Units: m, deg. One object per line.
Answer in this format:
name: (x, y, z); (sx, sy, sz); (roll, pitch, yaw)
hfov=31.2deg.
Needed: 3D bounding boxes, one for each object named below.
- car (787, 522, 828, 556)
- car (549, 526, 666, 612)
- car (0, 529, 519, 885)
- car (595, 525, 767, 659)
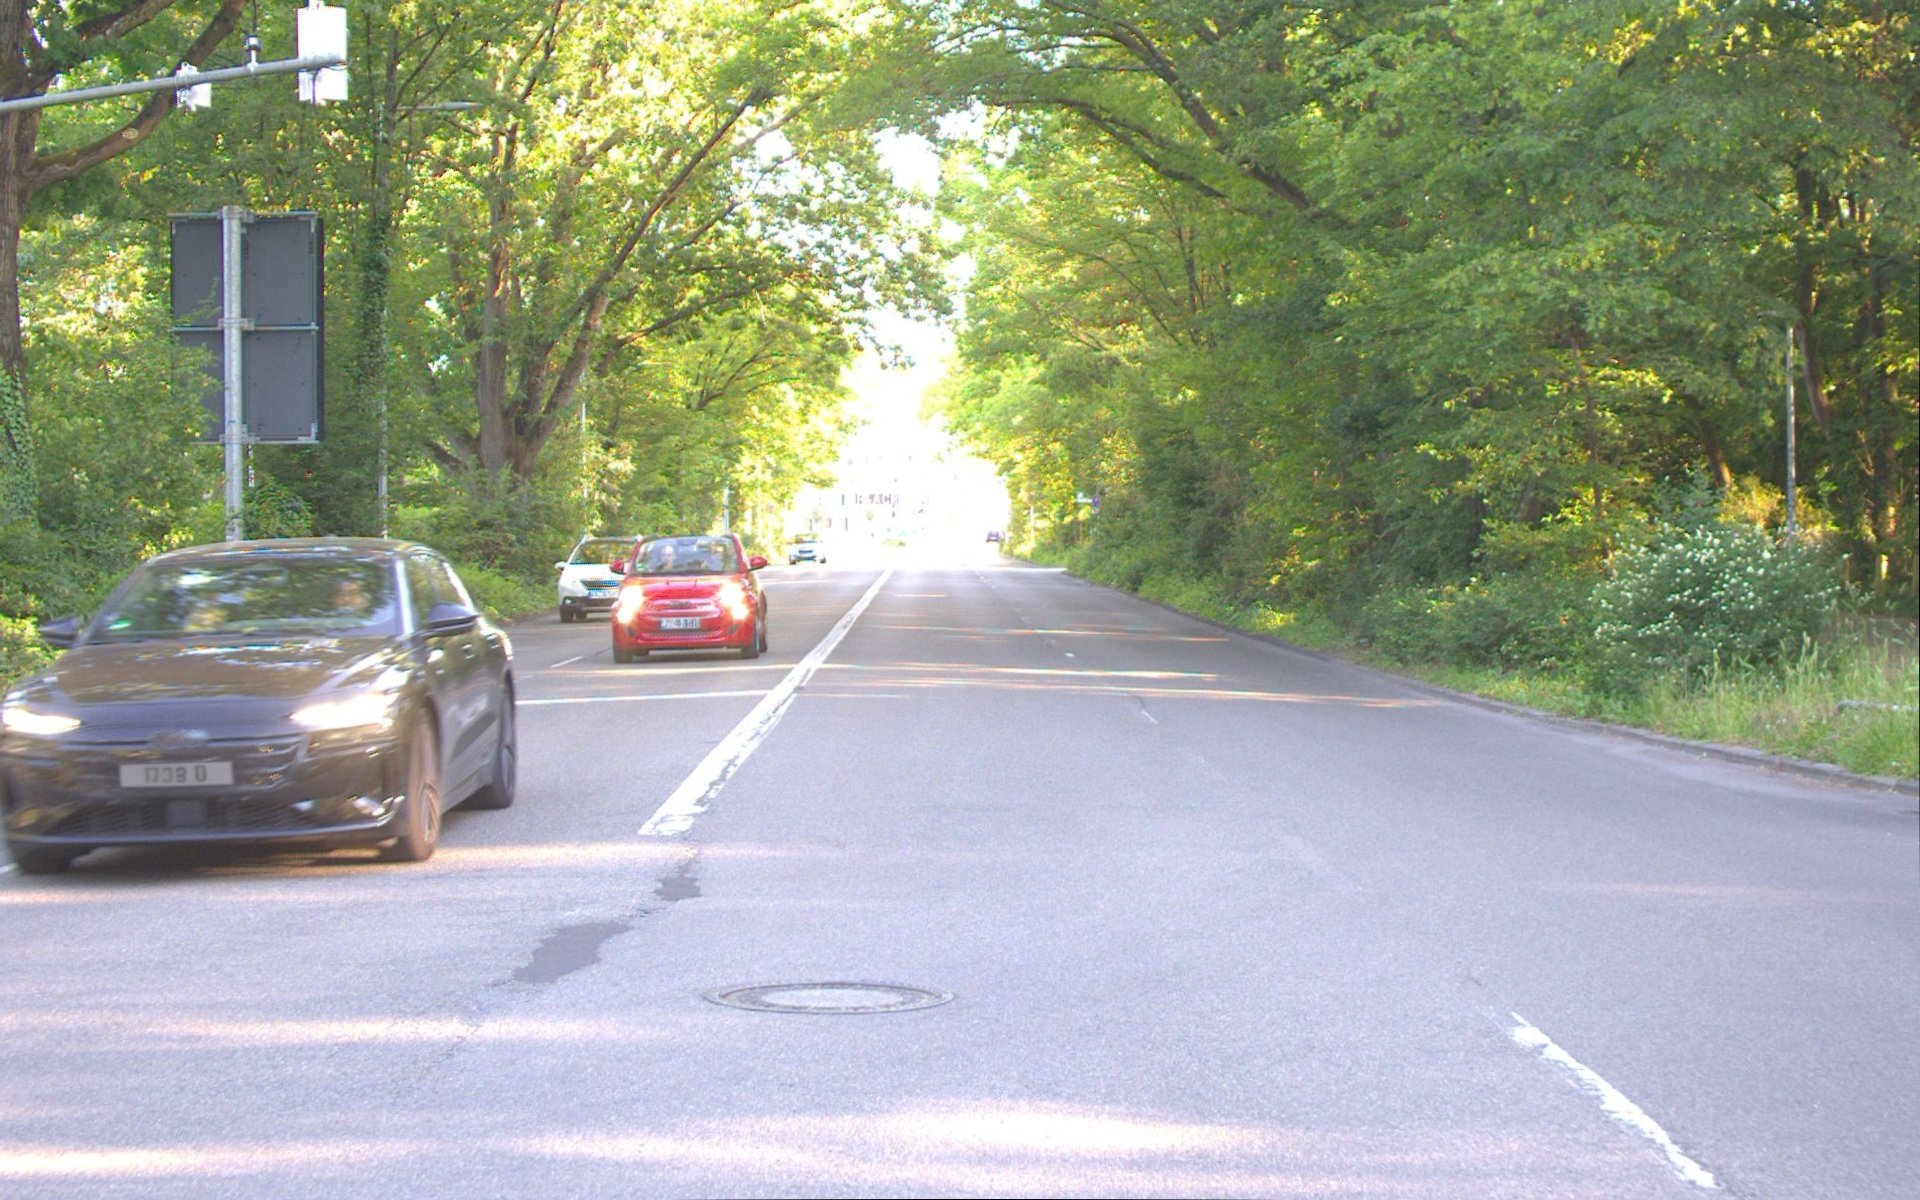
car: (-7.067, -2.817, 159.206); (1.797, 1.501, 4.365); (-1, 1, -1)
car: (-6.421, -0.592, 63.007); (1.797, 1.501, 4.365); (-1, 1, -1)
car: (-3.348, 0.419, 16.879); (1.887, 1.501, 4.365); (-1, 1, -1)
car: (-3.295, -0.134, 41.323); (1.797, 1.501, 4.365); (-1, 1, -1)
